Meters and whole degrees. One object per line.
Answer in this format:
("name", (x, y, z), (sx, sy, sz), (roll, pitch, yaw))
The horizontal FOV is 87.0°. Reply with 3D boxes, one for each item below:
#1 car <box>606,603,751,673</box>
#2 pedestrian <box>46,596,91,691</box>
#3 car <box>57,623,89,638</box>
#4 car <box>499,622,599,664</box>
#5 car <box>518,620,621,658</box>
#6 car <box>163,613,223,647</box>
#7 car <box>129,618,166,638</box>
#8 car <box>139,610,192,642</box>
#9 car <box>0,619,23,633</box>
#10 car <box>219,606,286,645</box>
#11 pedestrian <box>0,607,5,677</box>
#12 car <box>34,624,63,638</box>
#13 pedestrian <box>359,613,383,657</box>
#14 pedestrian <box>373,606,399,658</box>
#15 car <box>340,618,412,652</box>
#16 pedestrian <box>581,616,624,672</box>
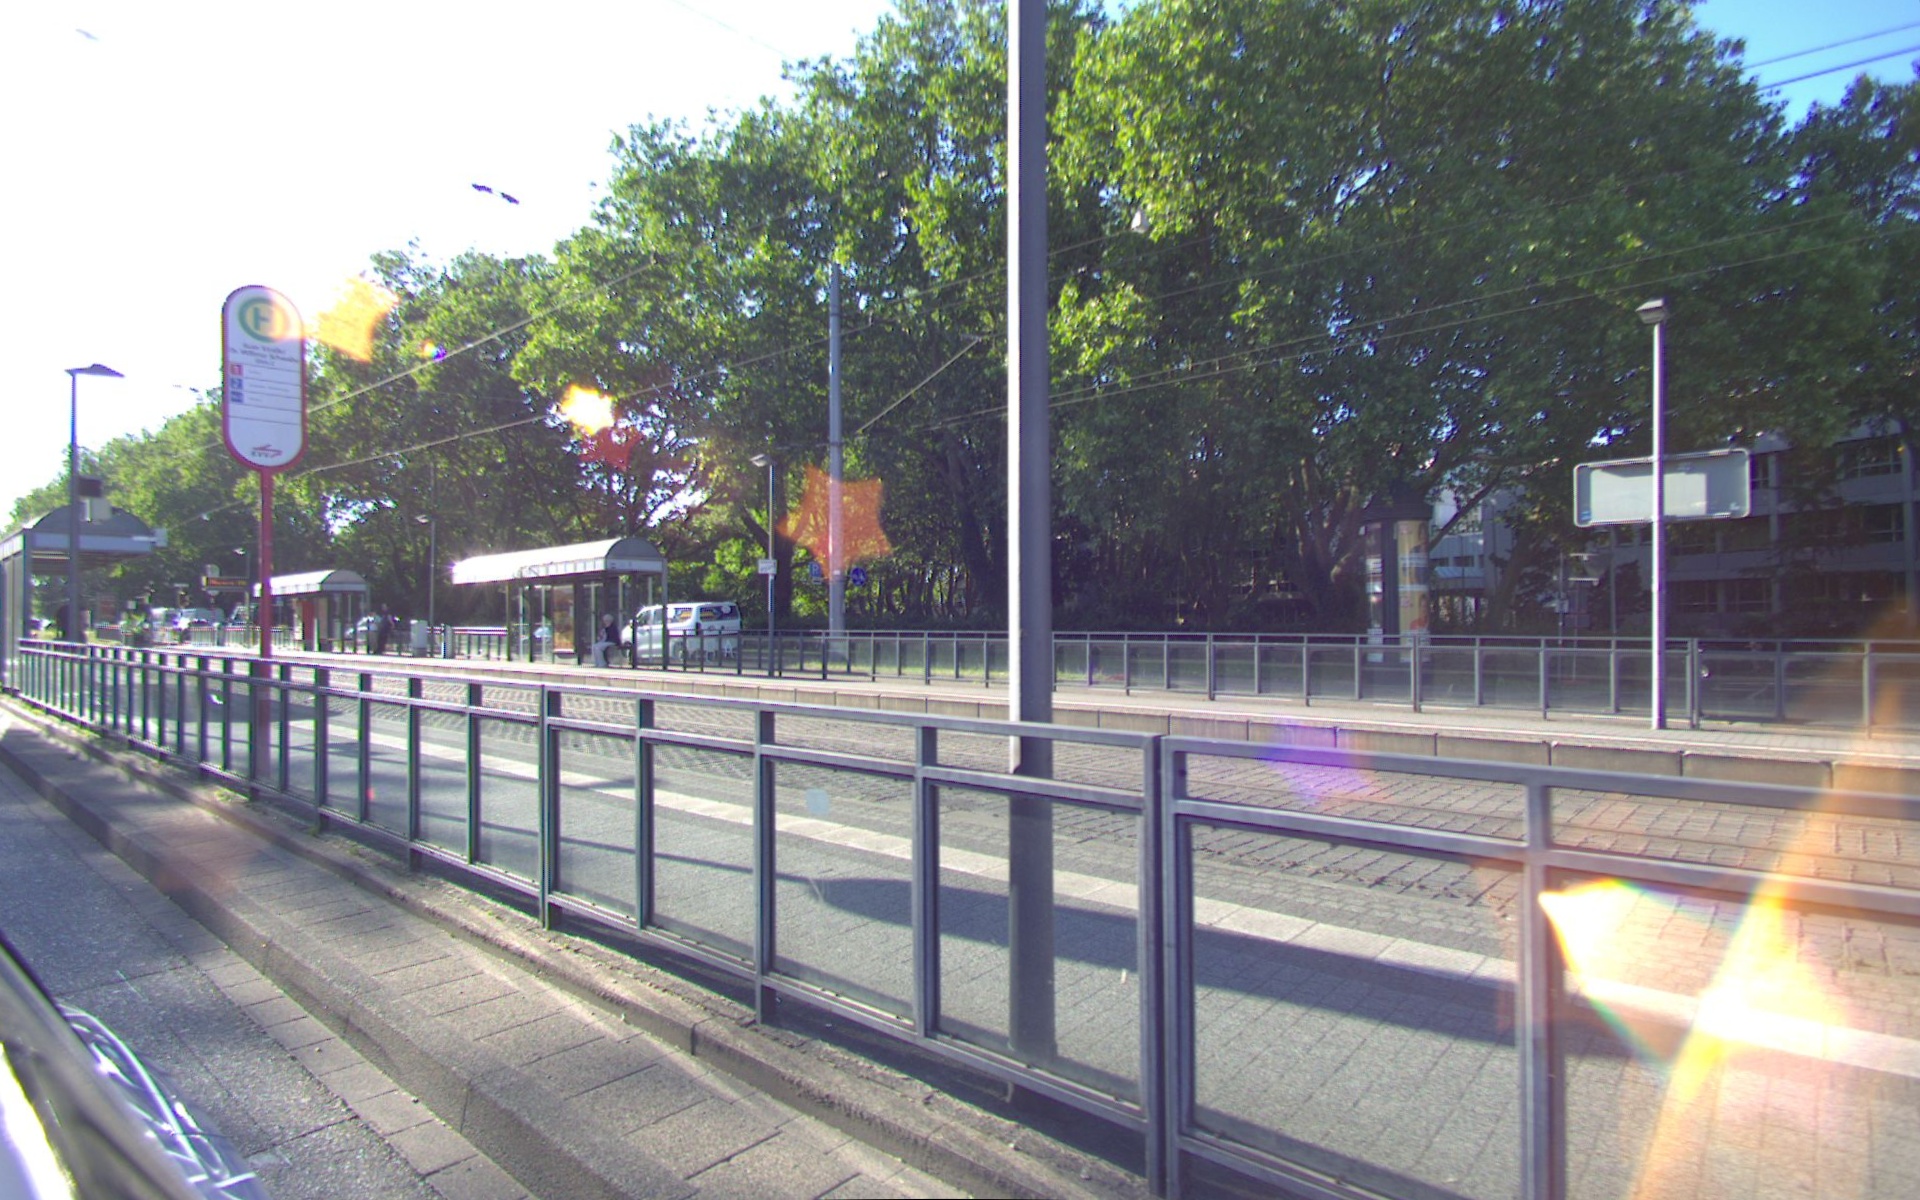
("car", (-9.387, 1.218, 33.535), (5.086, 2.140, 2.046), (-1, -3, 40))
("pedestrian", (-16.303, 0.787, 18.514), (0.588, 1.690, 0.590), (0, 0, -44))
("car", (-93.458, 3.219, 106.615), (4.320, 1.448, 1.808), (-1, -3, 40))
("car", (-16.086, 1.670, 39.552), (4.338, 1.522, 1.776), (-1, -3, 40))
("car", (-14.808, 1.456, 38.289), (4.312, 1.302, 1.752), (-1, -3, 40))
("car", (-59.715, 2.280, 78.739), (6.264, 2.540, 2.162), (0, -3, 38))
("car", (-70.930, 2.445, 88.347), (3.878, 1.741, 1.721), (-1, -3, 40))
("car", (-65.765, 2.169, 83.768), (6.045, 2.540, 2.161), (-1, -3, 40))
("car", (-130.054, 3.617, 138.677), (4.390, 1.854, 1.808), (-1, -3, 40))
("car", (-48.202, 1.714, 68.911), (6.027, 2.540, 2.161), (-1, -3, 40))
("pedestrian", (-24.140, 1.044, 24.884), (0.701, 1.735, 0.652), (-1, 0, 6))
("car", (-104.329, 3.554, 115.788), (4.390, 1.517, 1.808), (-1, -3, 40))
("pedestrian", (-21.081, 1.247, 36.232), (0.626, 1.555, 0.586), (0, 0, 42))
("pedestrian", (-20.323, 1.126, 35.846), (0.650, 1.785, 0.641), (0, 0, 44))
("car", (-30.209, 1.805, 52.334), (3.968, 1.664, 1.884), (0, -3, 38))
("pedestrian", (-8.820, 1.086, 24.952), (0.756, 1.335, 0.663), (-1, -4, 40))
